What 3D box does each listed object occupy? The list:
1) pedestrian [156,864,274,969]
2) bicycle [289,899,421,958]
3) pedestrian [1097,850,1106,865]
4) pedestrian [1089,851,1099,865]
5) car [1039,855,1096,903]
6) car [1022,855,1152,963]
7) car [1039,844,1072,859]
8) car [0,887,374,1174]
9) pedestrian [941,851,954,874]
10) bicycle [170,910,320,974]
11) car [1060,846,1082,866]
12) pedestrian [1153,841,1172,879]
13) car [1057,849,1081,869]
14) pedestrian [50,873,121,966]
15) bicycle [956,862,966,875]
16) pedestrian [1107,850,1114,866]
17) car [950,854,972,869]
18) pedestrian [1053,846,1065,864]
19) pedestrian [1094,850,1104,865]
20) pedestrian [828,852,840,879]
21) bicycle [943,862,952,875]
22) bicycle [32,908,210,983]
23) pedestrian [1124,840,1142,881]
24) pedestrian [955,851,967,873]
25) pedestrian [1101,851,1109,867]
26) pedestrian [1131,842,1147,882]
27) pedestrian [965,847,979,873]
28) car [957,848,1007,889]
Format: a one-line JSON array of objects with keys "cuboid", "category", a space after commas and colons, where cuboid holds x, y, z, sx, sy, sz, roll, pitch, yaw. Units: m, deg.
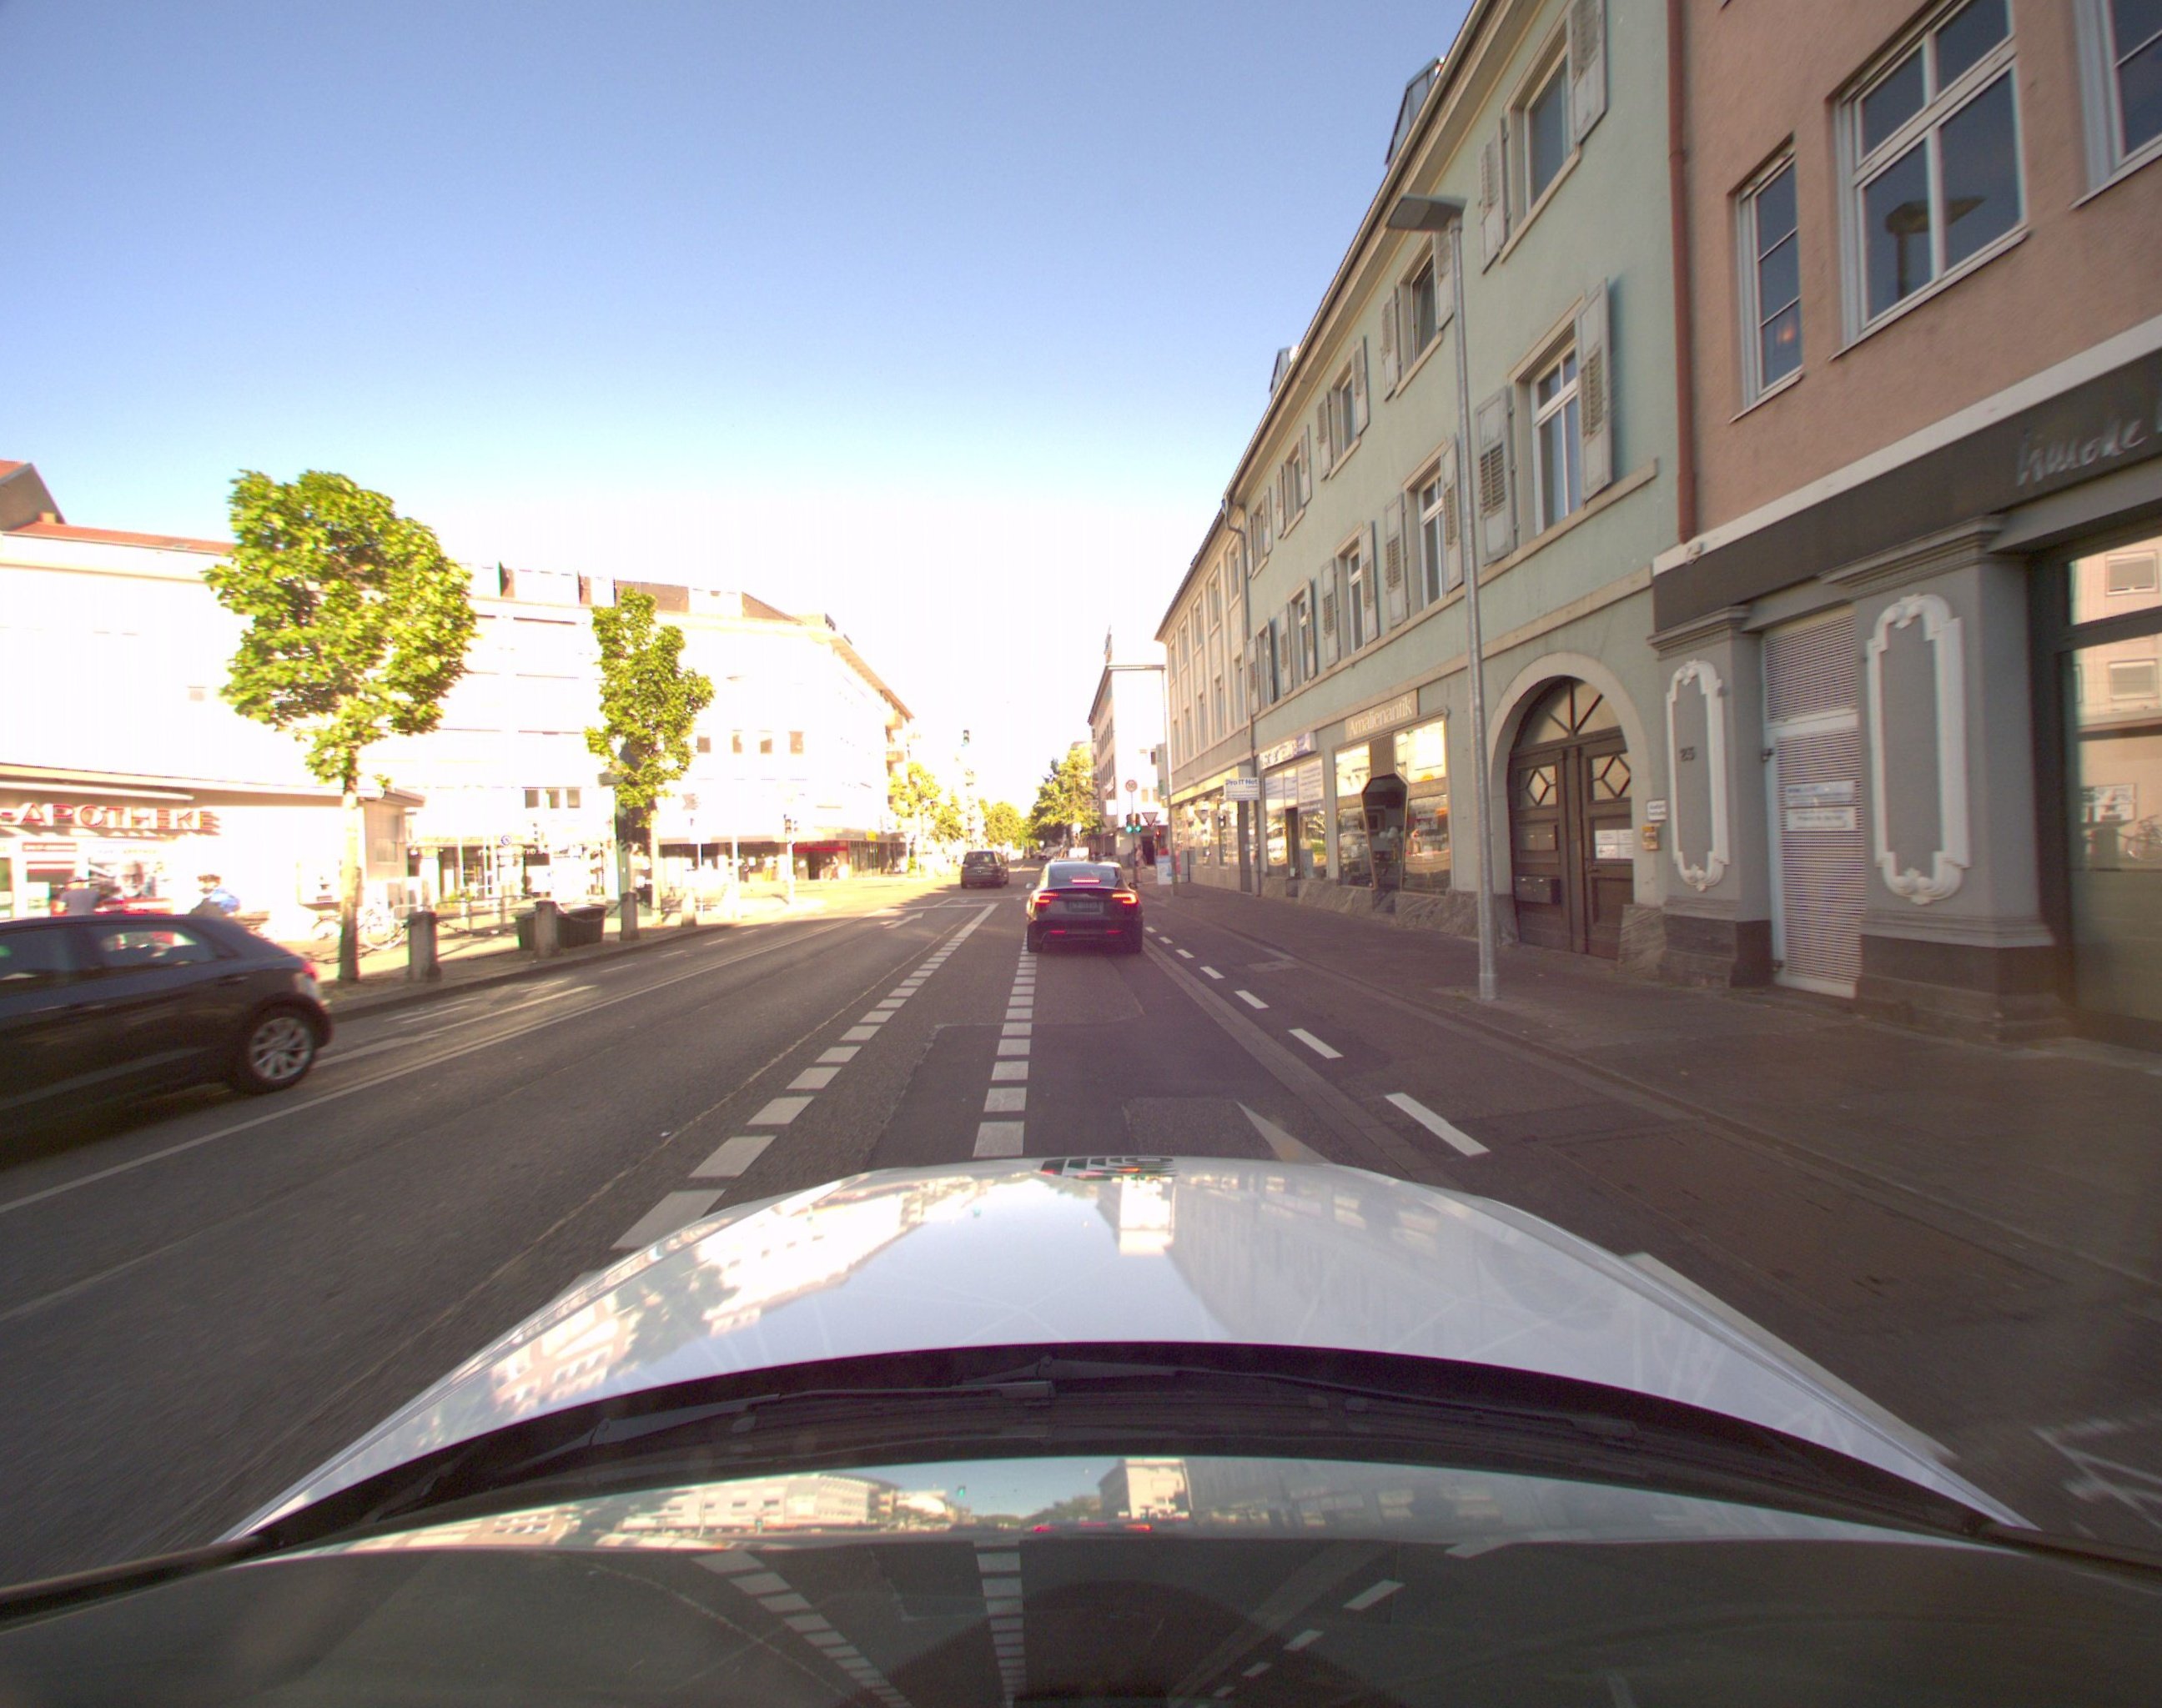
[{"cuboid": [-14.799, 1.051, 13.947, 1.075, 1.698, 0.905, -2, 0, 11], "category": "pedestrian"}, {"cuboid": [-15.072, 1.533, 16.942, 1.983, 1.088, 0.753, -2, 0, -2], "category": "bicycle"}, {"cuboid": [2.015, 0.321, 78.818, 0.729, 1.360, 0.957, -3, 0, -3], "category": "pedestrian"}, {"cuboid": [1.244, 0.362, 78.613, 0.708, 1.347, 1.057, -3, 0, -6], "category": "pedestrian"}, {"cuboid": [-0.458, 0.782, 27.715, 1.757, 1.418, 4.352, -2, 0, -1], "category": "car"}, {"cuboid": [0.019, 0.812, 14.200, 1.865, 1.427, 4.361, -3, 1, -2], "category": "car"}, {"cuboid": [-4.200, -0.458, 135.132, 5.381, 2.145, 1.997, -3, 0, -4], "category": "car"}, {"cuboid": [-6.551, 1.048, 4.570, 1.646, 1.397, 4.039, -5, 0, -3], "category": "car"}, {"cuboid": [-10.144, 0.662, 61.827, 0.792, 1.712, 0.650, -2, 0, -18], "category": "pedestrian"}, {"cuboid": [-15.017, 1.571, 14.648, 1.999, 1.002, 0.891, -2, 0, 11], "category": "bicycle"}, {"cuboid": [-1.016, 0.210, 79.980, 1.899, 1.852, 4.284, -2, 0, -3], "category": "car"}, {"cuboid": [3.820, 0.272, 38.417, 0.688, 1.703, 0.911, -3, 0, -2], "category": "pedestrian"}, {"cuboid": [-1.117, 0.409, 73.542, 1.996, 1.636, 4.284, -2, 0, -3], "category": "car"}, {"cuboid": [-19.146, 1.244, 15.680, 0.518, 1.709, 0.611, -3, 0, -3], "category": "pedestrian"}, {"cuboid": [-9.276, 1.108, 62.967, 0.553, 0.968, 1.786, -3, 0, -14], "category": "bicycle"}, {"cuboid": [2.494, 0.370, 68.853, 0.485, 1.322, 0.654, -3, 0, 4], "category": "pedestrian"}, {"cuboid": [-14.127, 0.868, 95.965, 1.988, 1.598, 3.998, -2, 0, -1], "category": "car"}, {"cuboid": [-2.432, 0.117, 89.942, 0.951, 1.915, 1.109, -3, 0, 13], "category": "pedestrian"}, {"cuboid": [1.696, 0.349, 77.529, 0.729, 1.347, 1.058, -3, 0, -5], "category": "pedestrian"}, {"cuboid": [-16.153, 0.764, 53.291, 0.558, 1.709, 0.711, -3, 0, -6], "category": "pedestrian"}, {"cuboid": [-10.180, 1.100, 62.140, 0.481, 0.955, 1.447, -3, 0, -17], "category": "bicycle"}, {"cuboid": [-14.489, 1.368, 12.315, 1.875, 1.002, 0.766, -2, 0, 5], "category": "bicycle"}, {"cuboid": [2.386, 0.303, 37.304, 0.638, 1.842, 0.681, -3, 0, -3], "category": "pedestrian"}, {"cuboid": [-9.274, 0.623, 63.074, 0.780, 1.728, 0.556, -2, 0, -18], "category": "pedestrian"}, {"cuboid": [1.980, 0.398, 68.043, 0.585, 1.313, 0.560, -3, 0, -3], "category": "pedestrian"}, {"cuboid": [2.613, 0.347, 36.773, 0.571, 1.759, 0.648, -2, -1, -3], "category": "pedestrian"}, {"cuboid": [-8.452, 0.464, 63.190, 0.780, 1.866, 0.996, -5, 1, -17], "category": "pedestrian"}, {"cuboid": [-4.509, 0.613, 37.581, 1.899, 1.733, 4.284, -2, 0, -3], "category": "car"}]
